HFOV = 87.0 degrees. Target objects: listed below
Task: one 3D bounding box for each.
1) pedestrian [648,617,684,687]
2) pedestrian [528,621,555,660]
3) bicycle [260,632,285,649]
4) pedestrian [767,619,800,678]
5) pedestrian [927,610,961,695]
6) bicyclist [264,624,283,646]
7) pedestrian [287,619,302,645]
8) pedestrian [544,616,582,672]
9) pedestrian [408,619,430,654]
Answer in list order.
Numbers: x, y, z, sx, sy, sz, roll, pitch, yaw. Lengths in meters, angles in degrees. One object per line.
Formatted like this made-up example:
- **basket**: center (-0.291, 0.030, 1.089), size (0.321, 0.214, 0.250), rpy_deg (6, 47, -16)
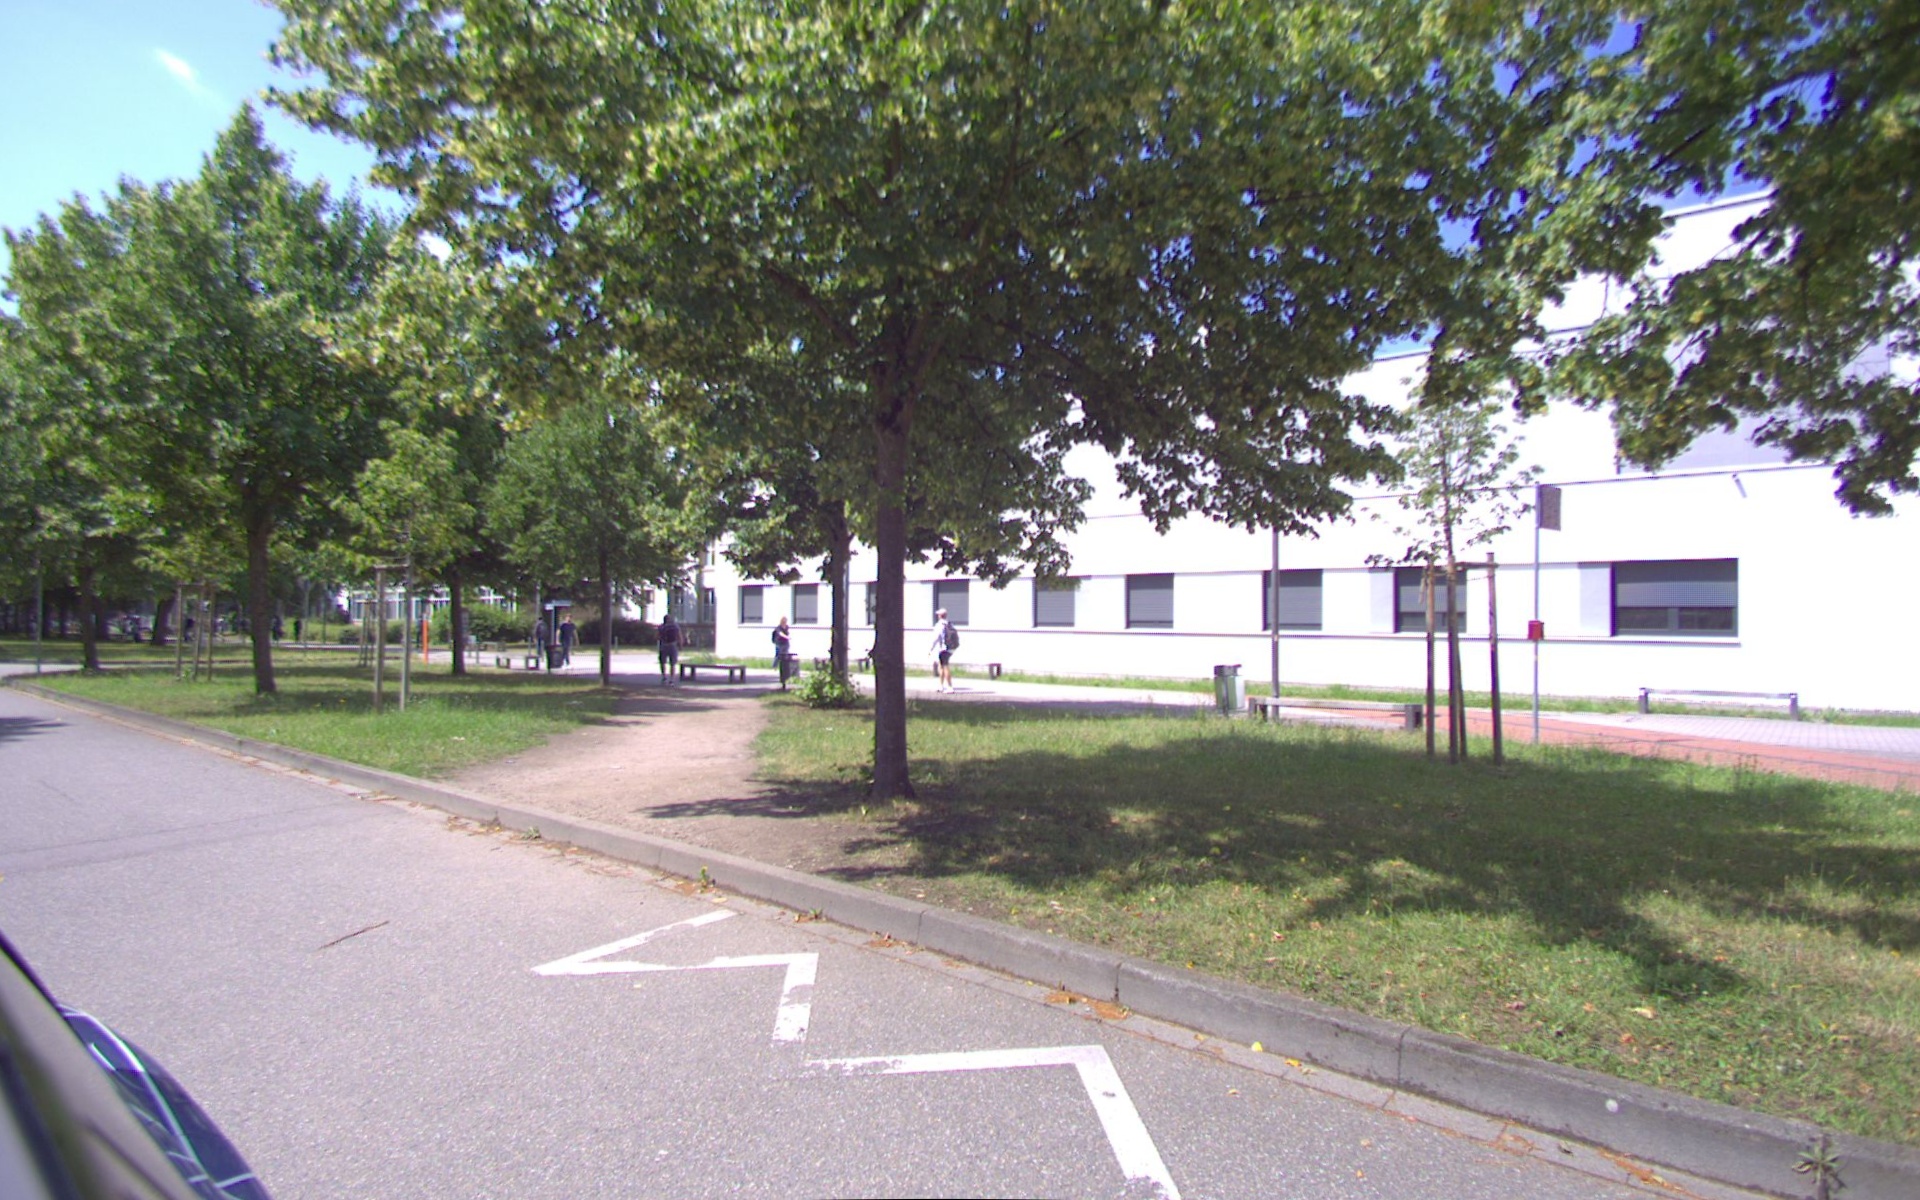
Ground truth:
- **pedestrian**: center (-7.113, 1.243, 24.510), size (0.715, 1.669, 0.717), rpy_deg (1, -2, -8)
- **pedestrian**: center (-17.836, 1.724, 43.163), size (0.836, 1.661, 0.805), rpy_deg (2, -2, -39)
- **bicycle**: center (-43.219, 2.543, 63.584), size (2.147, 1.040, 0.768), rpy_deg (-1, -2, 41)
- **pedestrian**: center (-5.142, 1.395, 29.479), size (0.725, 1.701, 0.620), rpy_deg (-1, -2, 40)
- **pedestrian**: center (-0.335, 1.125, 21.779), size (0.701, 1.783, 0.830), rpy_deg (0, -2, 1)
- **bicyclist**: center (-42.976, 2.181, 63.397), size (0.827, 1.343, 0.768), rpy_deg (-1, -2, 40)
- **pedestrian**: center (-42.465, 2.035, 64.605), size (0.763, 1.641, 0.588), rpy_deg (-1, -2, 40)
- **pedestrian**: center (-12.978, 1.439, 33.083), size (0.782, 1.789, 1.095), rpy_deg (2, -2, -44)
- **pedestrian**: center (-27.653, 1.867, 51.774), size (0.634, 1.735, 0.786), rpy_deg (-1, -2, 40)
